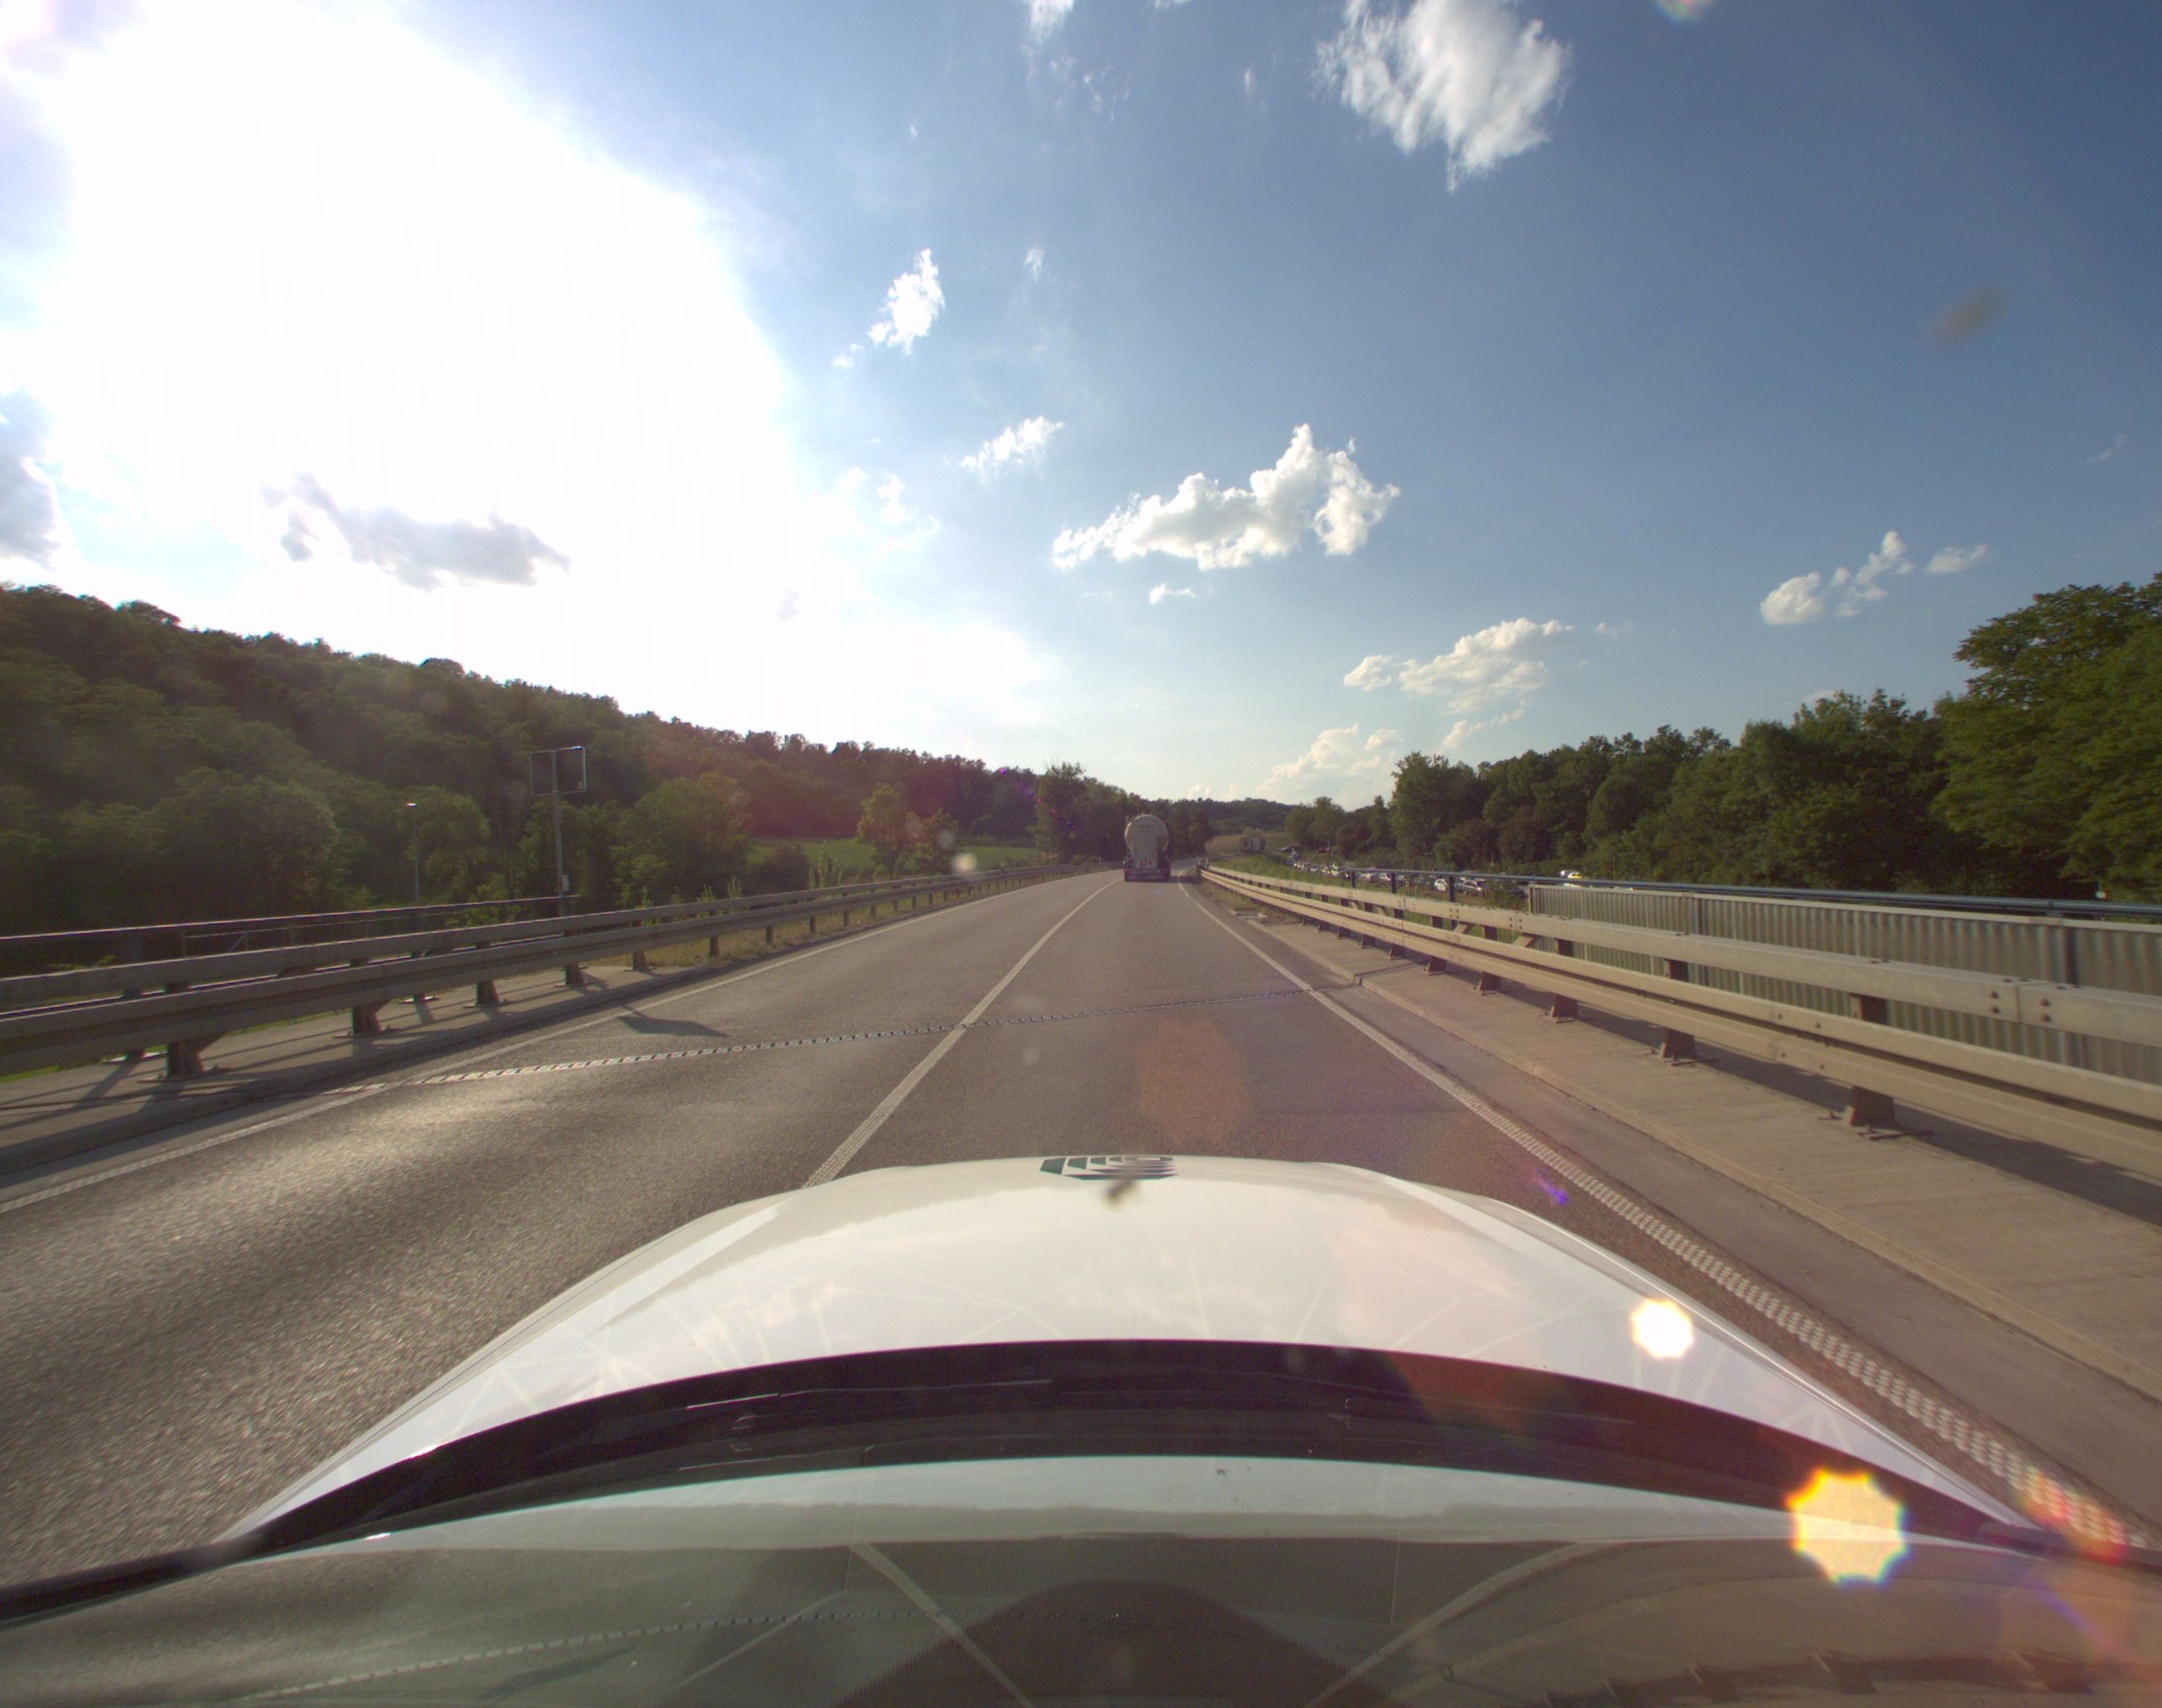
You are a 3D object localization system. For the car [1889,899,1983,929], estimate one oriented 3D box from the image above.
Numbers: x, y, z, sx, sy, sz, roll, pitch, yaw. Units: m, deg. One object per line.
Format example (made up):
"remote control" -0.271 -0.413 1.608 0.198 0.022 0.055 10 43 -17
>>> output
"car" 49.155 3.415 46.904 1.669 1.496 3.639 -1 -1 -44

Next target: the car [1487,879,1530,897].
"car" 42.939 3.404 81.923 1.815 1.401 4.248 -4 1 -6

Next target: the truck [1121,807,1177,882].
"truck" 4.548 -0.505 52.109 2.877 4.143 13.199 -1 0 7

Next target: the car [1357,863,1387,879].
"car" 41.619 2.405 116.501 2.113 2.017 5.376 -5 1 -2

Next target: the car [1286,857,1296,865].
"car" 47.193 1.577 183.130 1.877 1.559 4.804 -5 1 16

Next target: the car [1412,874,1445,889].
"car" 41.987 3.272 98.493 1.815 1.482 4.387 -4 1 -6

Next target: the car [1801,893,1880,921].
"car" 48.213 3.355 51.790 1.646 1.496 3.834 -2 -1 5

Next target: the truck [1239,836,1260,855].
"truck" 40.424 -2.053 195.307 3.158 4.227 13.236 -2 1 18

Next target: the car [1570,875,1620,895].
"car" 48.081 2.862 76.301 1.649 1.666 4.706 -2 -1 -1

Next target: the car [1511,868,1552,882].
"car" 53.972 2.521 97.589 4.231 1.456 1.613 -2 1 -9

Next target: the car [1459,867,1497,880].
"car" 51.673 2.535 106.033 4.231 1.456 1.613 -1 0 -9

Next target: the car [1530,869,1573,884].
"car" 54.577 2.636 94.475 4.231 1.456 1.613 -3 1 -9

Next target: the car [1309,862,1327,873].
"car" 43.118 2.471 148.496 1.885 1.559 4.784 -5 1 1

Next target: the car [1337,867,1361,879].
"car" 41.272 2.865 125.427 1.887 1.482 4.779 -5 1 -2

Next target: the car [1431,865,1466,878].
"car" 51.798 2.483 114.709 4.230 1.742 1.829 -1 1 -8

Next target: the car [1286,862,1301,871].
"car" 44.737 2.551 171.558 1.885 1.559 4.784 -5 1 1

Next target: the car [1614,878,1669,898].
"car" 48.176 2.920 70.113 1.651 1.496 4.217 -2 -1 -4

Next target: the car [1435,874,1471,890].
"car" 42.587 3.224 93.381 1.815 1.482 4.248 -4 1 -6

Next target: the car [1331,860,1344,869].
"car" 49.737 2.015 157.920 1.690 1.398 3.957 -4 0 10

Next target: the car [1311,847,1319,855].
"car" 62.937 -0.777 218.966 1.877 1.686 5.109 -5 1 16

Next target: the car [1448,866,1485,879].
"car" 51.459 2.468 108.786 4.230 1.498 1.768 -1 1 -8

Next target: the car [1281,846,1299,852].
"car" 56.147 -1.304 218.658 4.305 1.399 1.718 2 2 -6
